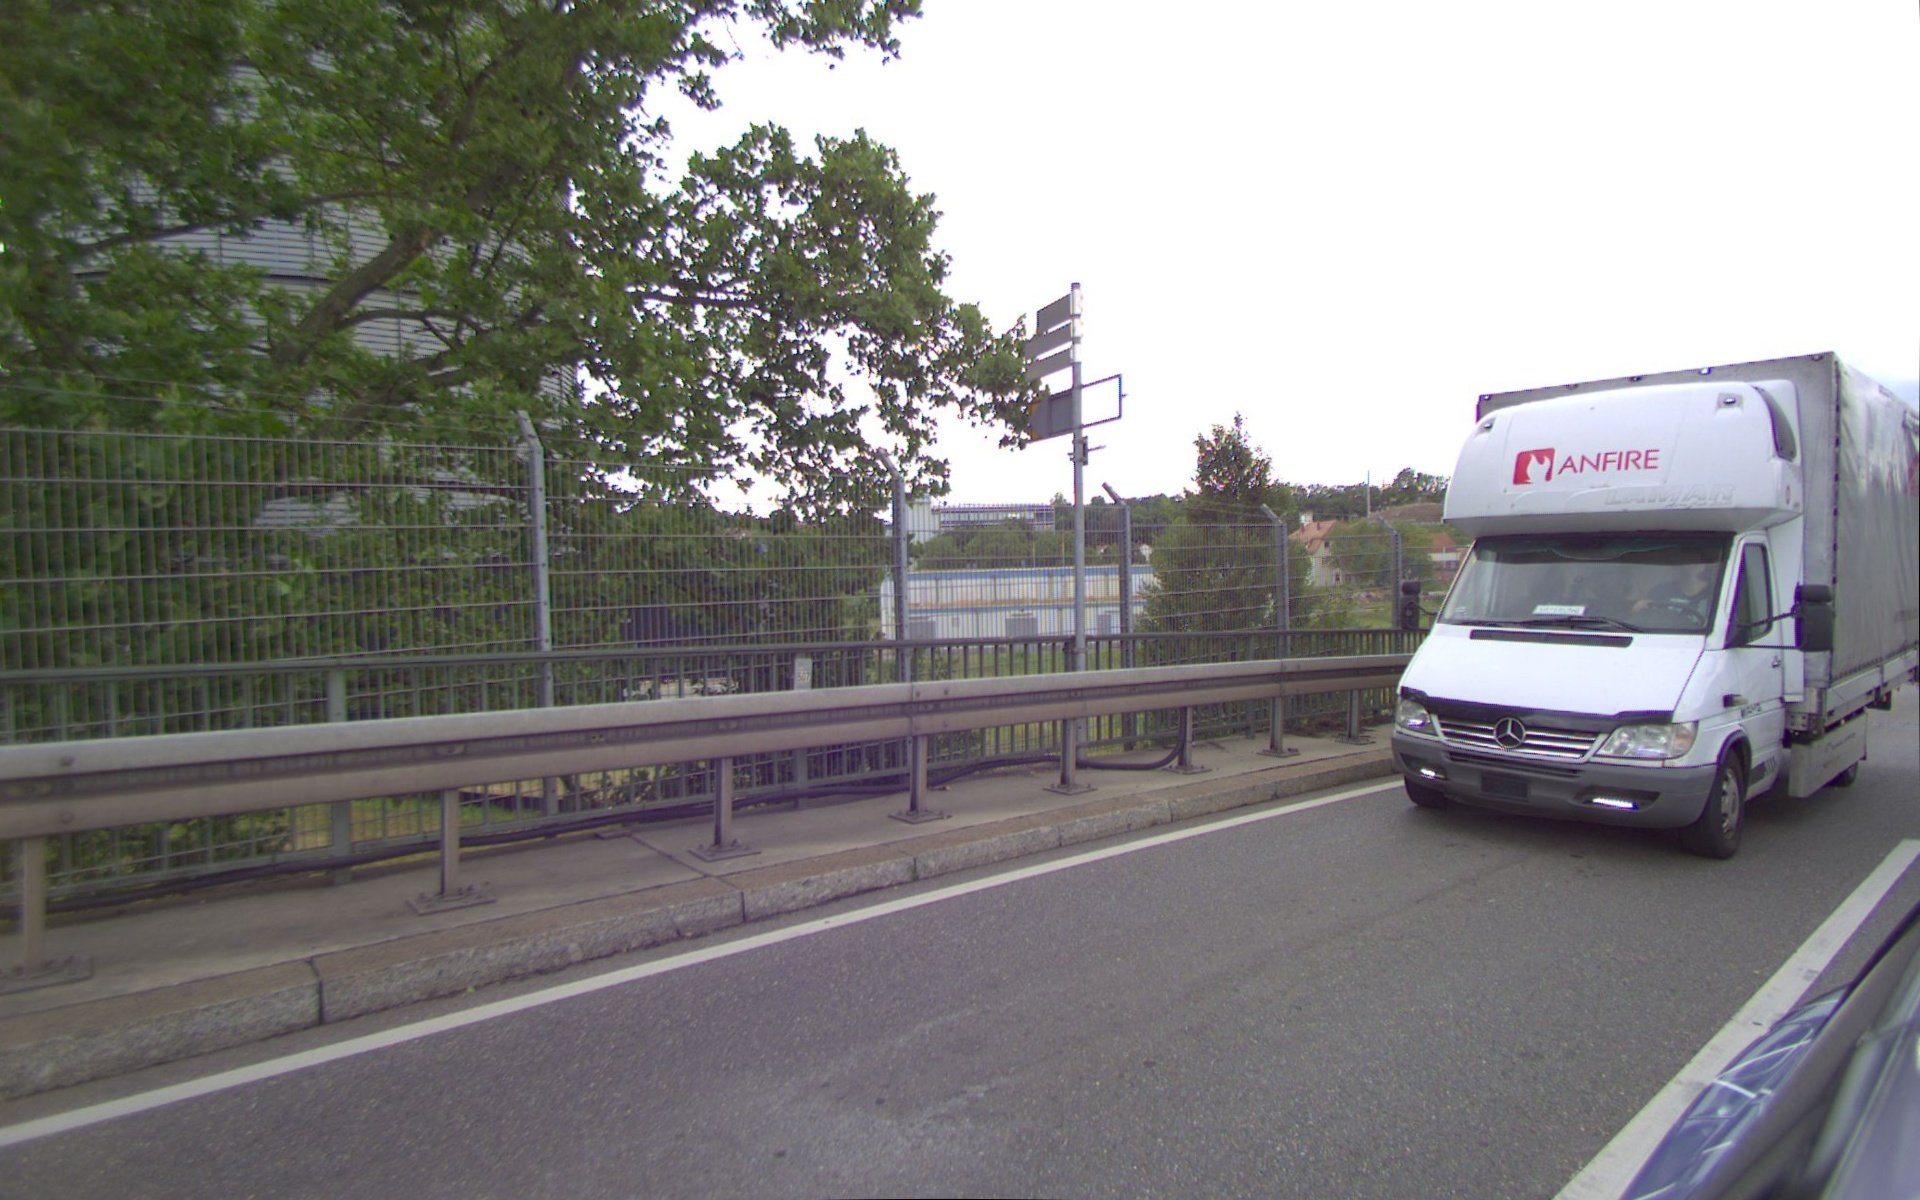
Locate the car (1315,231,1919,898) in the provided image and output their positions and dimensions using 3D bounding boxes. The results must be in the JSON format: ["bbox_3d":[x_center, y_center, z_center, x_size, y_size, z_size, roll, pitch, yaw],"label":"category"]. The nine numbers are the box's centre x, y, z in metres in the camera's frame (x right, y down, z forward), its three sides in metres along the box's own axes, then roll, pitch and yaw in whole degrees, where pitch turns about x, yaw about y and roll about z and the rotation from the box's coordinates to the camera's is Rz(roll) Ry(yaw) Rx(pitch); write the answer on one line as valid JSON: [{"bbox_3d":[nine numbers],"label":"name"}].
[{"bbox_3d":[6.007,-0.231,8.411,6.966,3.371,2.664,-1,1,-41],"label":"car"}]
